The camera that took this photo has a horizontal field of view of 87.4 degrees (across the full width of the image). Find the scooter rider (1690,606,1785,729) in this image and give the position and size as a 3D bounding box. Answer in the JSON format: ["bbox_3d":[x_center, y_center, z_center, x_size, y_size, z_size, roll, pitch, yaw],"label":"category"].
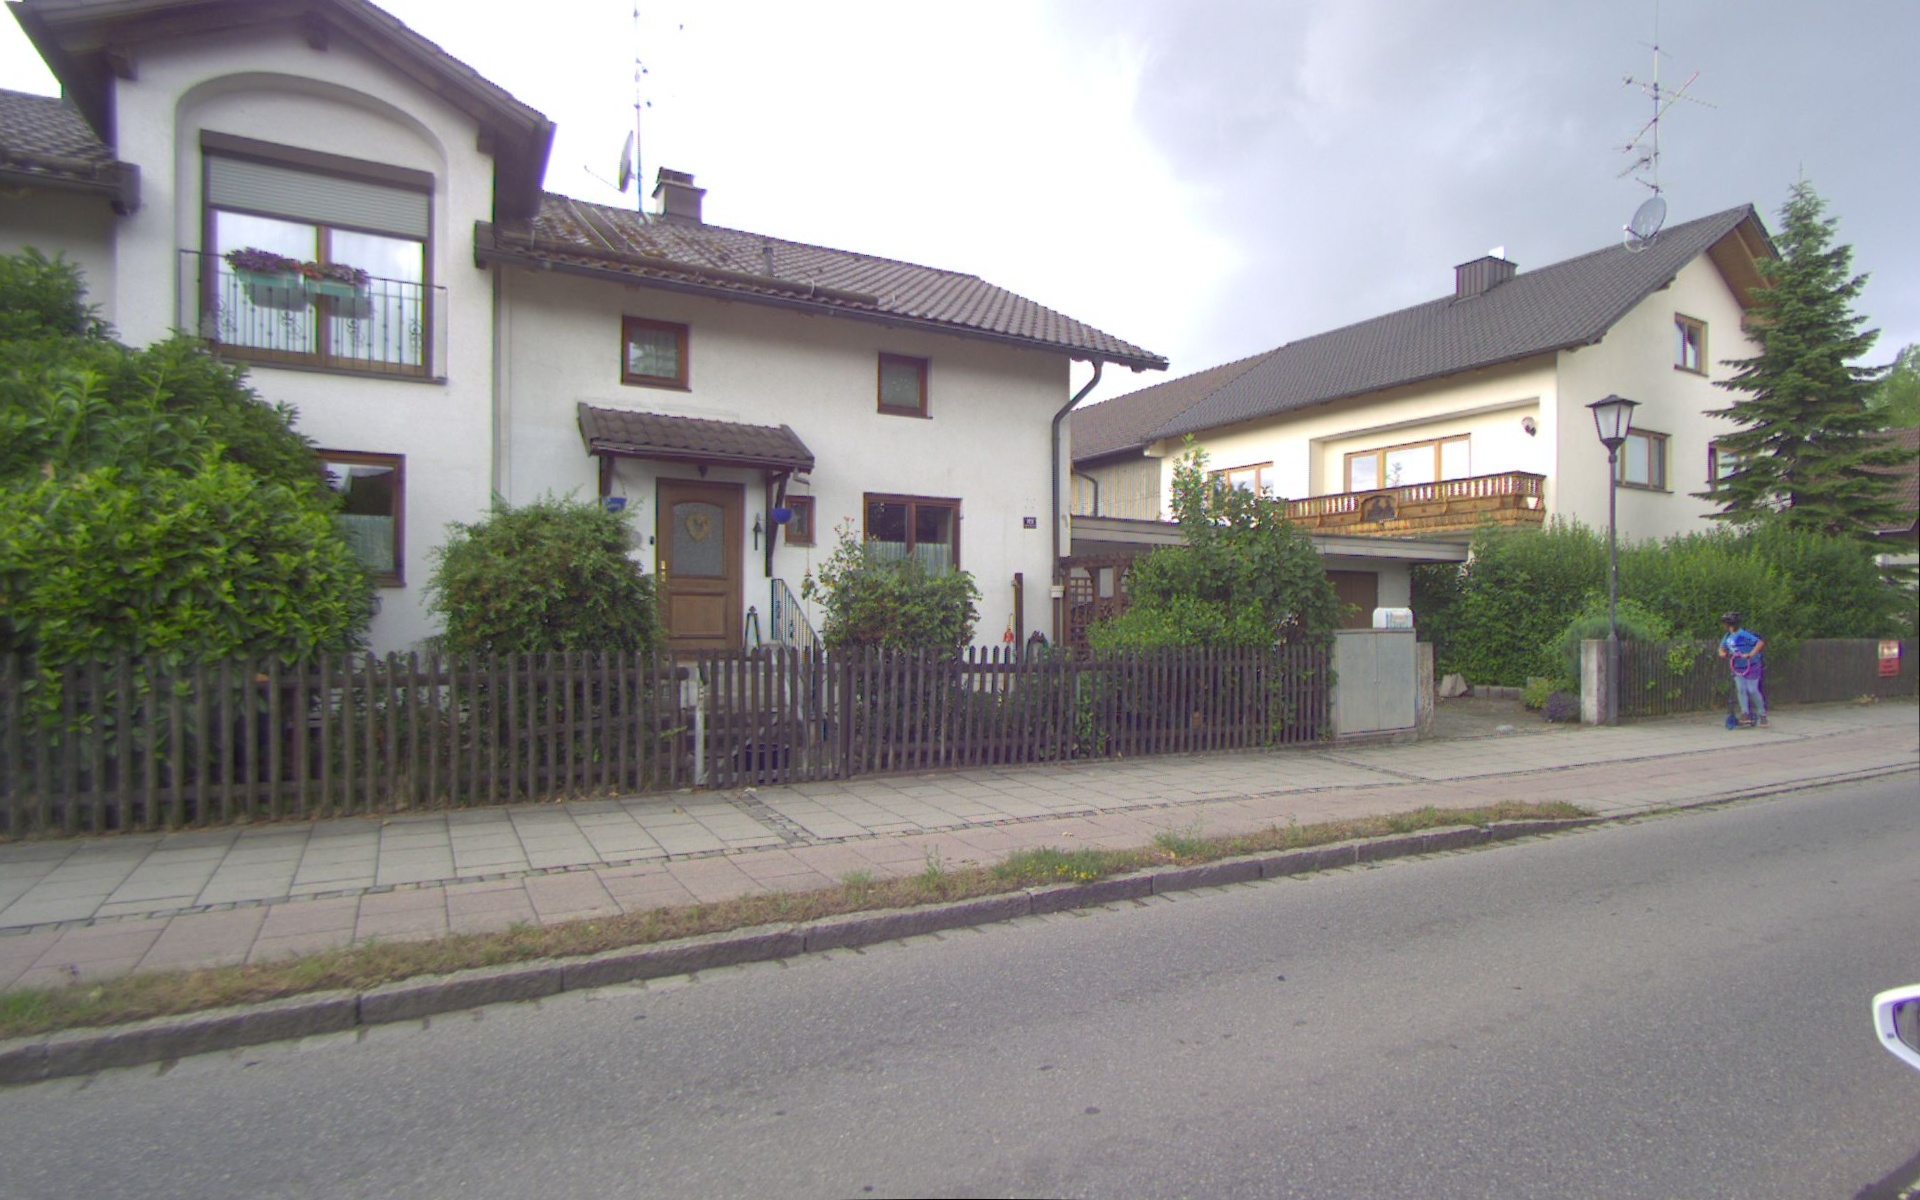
[{"bbox_3d":[10.295,0.868,13.309,0.791,1.545,0.689,1,2,-31],"label":"scooter rider"}]

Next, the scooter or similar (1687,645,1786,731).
[{"bbox_3d":[10.273,1.140,13.287,1.164,1.051,0.658,1,-1,-30],"label":"scooter or similar"}]
